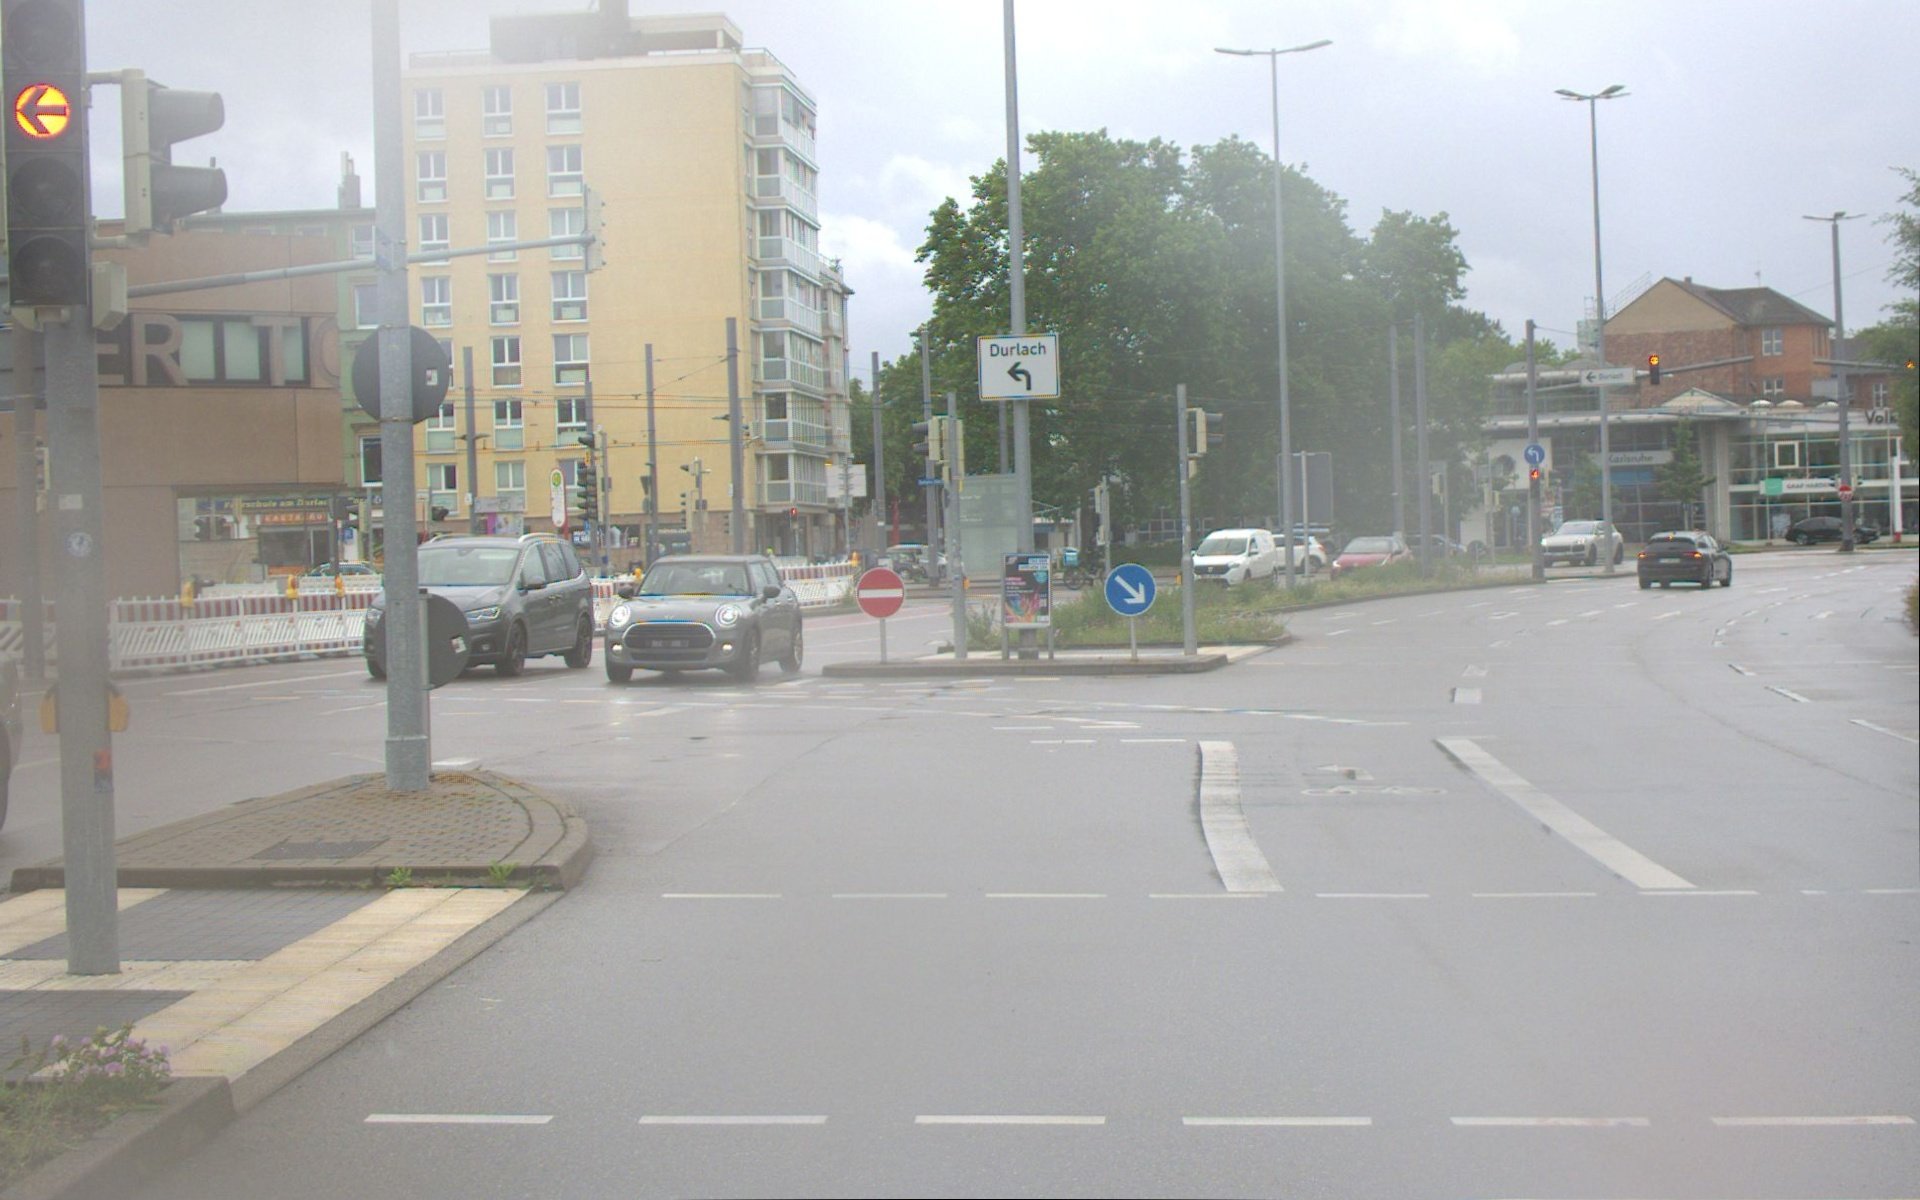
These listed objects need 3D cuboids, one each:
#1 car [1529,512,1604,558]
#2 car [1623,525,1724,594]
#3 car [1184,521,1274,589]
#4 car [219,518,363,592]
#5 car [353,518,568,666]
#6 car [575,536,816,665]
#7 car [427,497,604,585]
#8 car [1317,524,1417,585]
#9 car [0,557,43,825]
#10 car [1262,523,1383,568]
[{"bbox_3d":[22.926,-2.474,129.799,1.792,1.637,4.154,-1,1,24],"label":"car"},{"bbox_3d":[18.047,-1.035,86.831,1.792,1.637,4.155,-1,1,21],"label":"car"},{"bbox_3d":[7.687,-1.301,97.982,1.791,1.852,4.156,-1,1,15],"label":"car"},{"bbox_3d":[-27.617,-1.869,142.111,5.351,2.877,2.339,-2,1,2],"label":"car"},{"bbox_3d":[-6.064,-0.142,42.211,1.772,1.673,4.769,-2,1,2],"label":"car"},{"bbox_3d":[-3.045,-0.033,40.377,1.773,1.371,4.119,-1,1,11],"label":"car"},{"bbox_3d":[-18.247,-2.429,141.469,6.742,3.368,2.809,-2,1,2],"label":"car"},{"bbox_3d":[11.727,-1.328,98.877,1.792,1.637,4.042,-1,1,22],"label":"car"},{"bbox_3d":[-5.981,0.538,16.862,1.694,1.411,4.183,-2,1,2],"label":"car"},{"bbox_3d":[14.099,-2.118,133.559,4.382,1.637,1.796,-2,1,-27],"label":"car"}]
